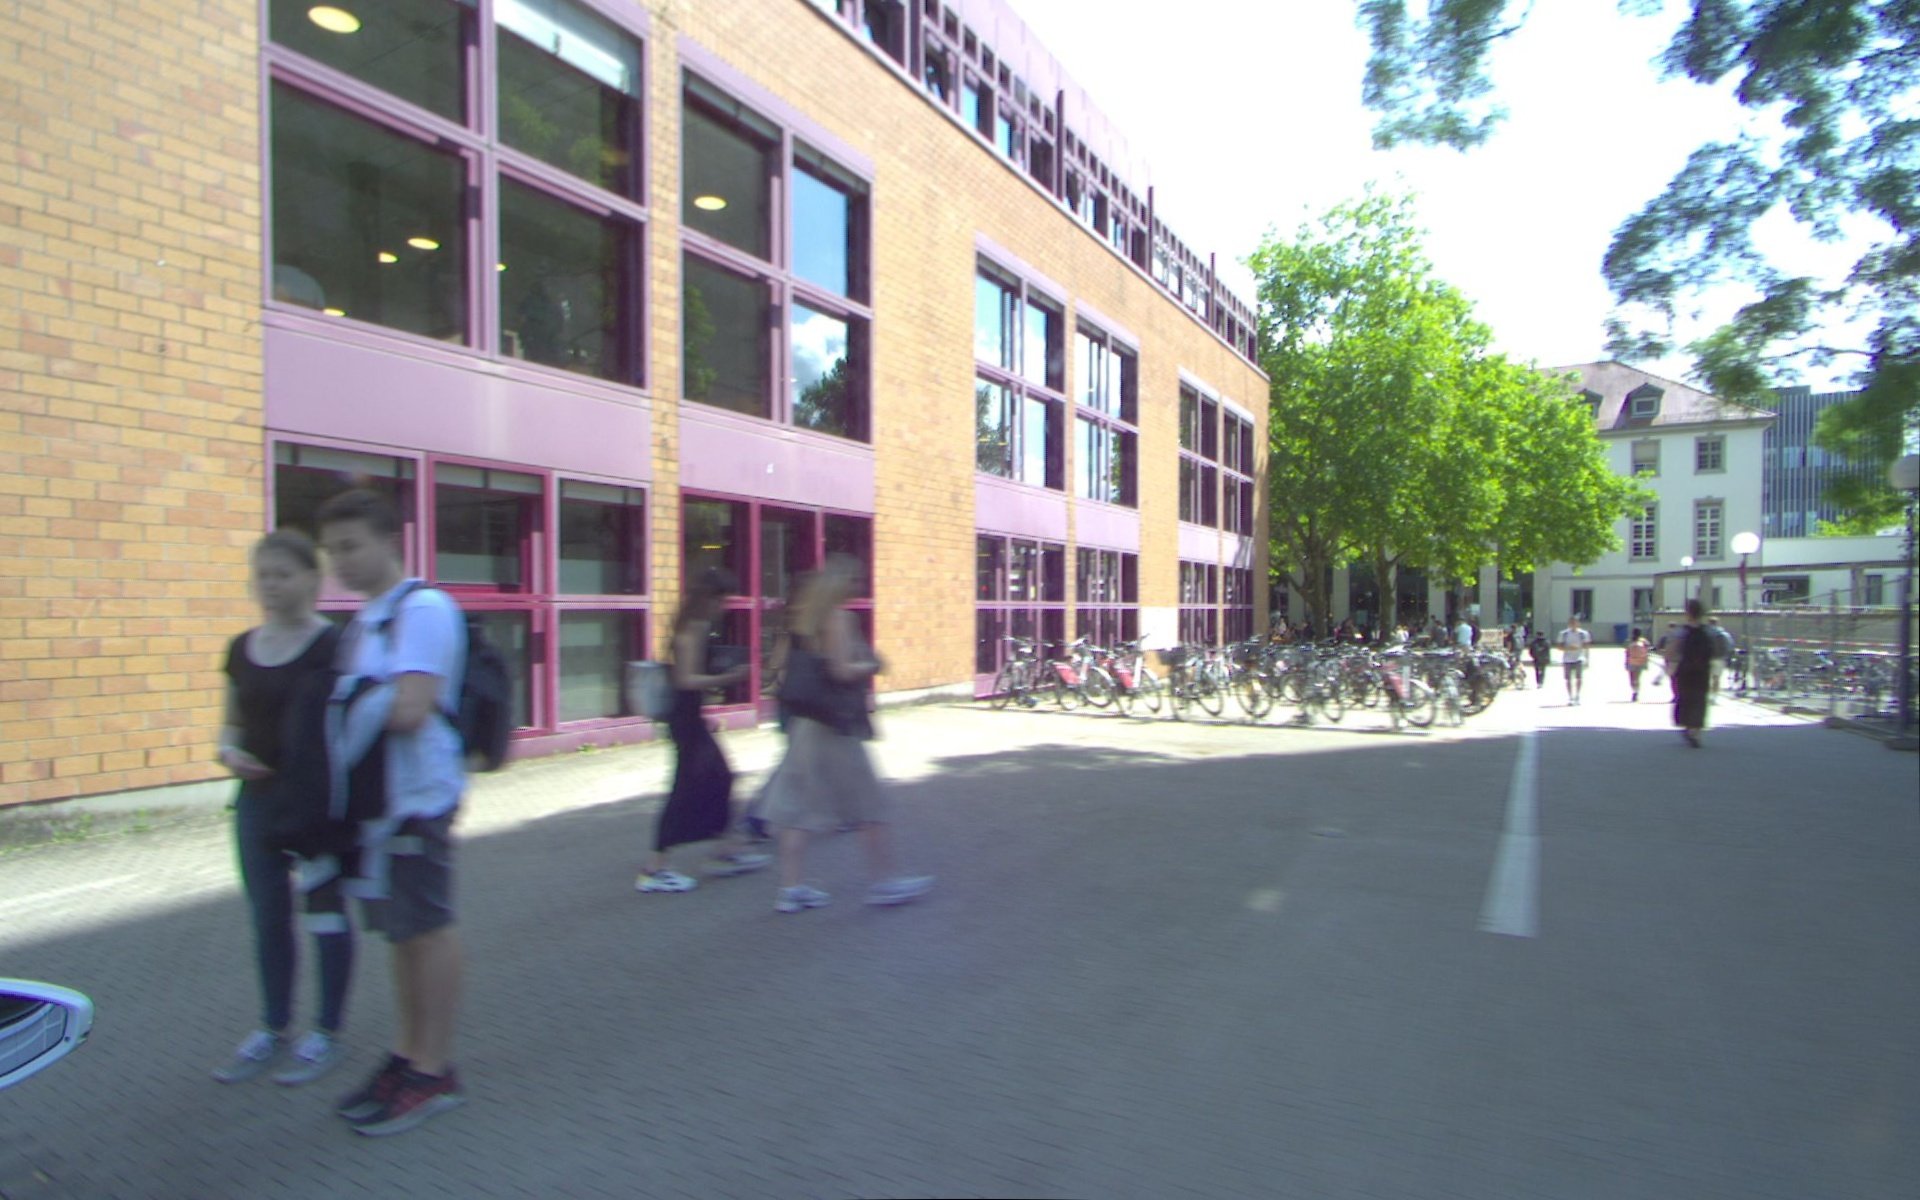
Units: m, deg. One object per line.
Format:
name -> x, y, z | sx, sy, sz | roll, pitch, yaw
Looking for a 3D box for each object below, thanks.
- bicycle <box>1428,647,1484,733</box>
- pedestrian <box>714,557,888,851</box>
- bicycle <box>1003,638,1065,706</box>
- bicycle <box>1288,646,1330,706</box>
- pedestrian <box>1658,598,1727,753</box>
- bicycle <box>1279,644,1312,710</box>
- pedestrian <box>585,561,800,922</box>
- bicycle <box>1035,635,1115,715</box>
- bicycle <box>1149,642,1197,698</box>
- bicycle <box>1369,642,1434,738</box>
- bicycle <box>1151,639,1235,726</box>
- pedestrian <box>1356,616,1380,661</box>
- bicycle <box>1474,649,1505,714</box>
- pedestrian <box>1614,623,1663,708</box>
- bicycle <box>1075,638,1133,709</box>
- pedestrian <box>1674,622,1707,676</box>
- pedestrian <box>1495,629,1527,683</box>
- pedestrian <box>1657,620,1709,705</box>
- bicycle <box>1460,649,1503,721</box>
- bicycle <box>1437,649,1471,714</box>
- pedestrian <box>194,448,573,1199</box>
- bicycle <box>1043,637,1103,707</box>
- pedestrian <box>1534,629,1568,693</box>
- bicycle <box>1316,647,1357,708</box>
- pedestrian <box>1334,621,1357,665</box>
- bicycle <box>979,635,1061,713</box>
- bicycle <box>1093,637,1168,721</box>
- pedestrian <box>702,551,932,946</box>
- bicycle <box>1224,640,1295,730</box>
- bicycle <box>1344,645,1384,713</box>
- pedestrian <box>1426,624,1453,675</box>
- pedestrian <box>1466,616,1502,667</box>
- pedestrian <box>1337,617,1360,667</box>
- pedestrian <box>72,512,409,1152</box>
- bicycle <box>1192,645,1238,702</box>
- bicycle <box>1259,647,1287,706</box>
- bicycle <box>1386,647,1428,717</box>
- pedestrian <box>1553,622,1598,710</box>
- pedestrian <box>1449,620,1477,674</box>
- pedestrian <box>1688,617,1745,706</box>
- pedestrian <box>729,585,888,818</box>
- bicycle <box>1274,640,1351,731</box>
bicycle -> 6.927, 1.219, 13.960 | 0.467, 1.124, 1.802 | -1, -3, 34
pedestrian -> -0.986, 0.610, 6.307 | 0.581, 1.694, 0.925 | -1, -1, 38
bicycle -> 1.311, 1.233, 17.538 | 0.466, 1.124, 1.807 | 0, -2, 25
bicycle -> 7.291, 1.577, 20.891 | 0.467, 1.183, 1.995 | 0, -3, 30
pedestrian -> 8.331, 0.839, 11.378 | 0.581, 1.672, 0.849 | -1, -2, 38
bicycle -> 6.353, 1.436, 18.995 | 0.465, 1.183, 1.811 | 1, -3, 14
pedestrian -> -1.381, 0.659, 5.233 | 0.635, 1.695, 0.882 | 1, 2, 38
bicycle -> 1.760, 1.110, 15.118 | 0.516, 1.124, 1.808 | 0, -3, 30
bicycle -> 4.756, 1.546, 22.273 | 0.467, 1.183, 1.995 | 0, -3, 29
bicycle -> 5.602, 1.103, 12.657 | 0.467, 1.124, 1.690 | -1, -3, 34
bicycle -> 3.236, 1.106, 13.770 | 0.516, 1.124, 1.806 | -1, -3, 34
pedestrian -> 17.297, 1.630, 42.450 | 0.672, 1.846, 0.905 | -2, -2, 9
bicycle -> 10.225, 1.555, 19.316 | 0.467, 1.183, 1.995 | 0, -3, 30
pedestrian -> 14.494, 1.391, 21.422 | 0.674, 1.750, 0.902 | -3, -2, 26
bicycle -> 2.462, 1.223, 16.967 | 0.466, 1.124, 1.807 | 0, -2, 25
pedestrian -> 24.177, 1.617, 33.154 | 0.674, 1.750, 0.902 | -3, -2, 26
pedestrian -> 18.087, 1.828, 32.888 | 0.672, 1.750, 0.904 | -2, -2, 15
pedestrian -> 15.243, 1.314, 21.120 | 0.674, 1.750, 0.902 | -3, -2, 26
bicycle -> 9.183, 1.469, 17.595 | 0.467, 1.183, 1.802 | 0, -3, 34
bicycle -> 9.637, 1.564, 19.510 | 0.467, 1.183, 1.995 | 0, -3, 30
pedestrian -> -1.644, 0.551, 2.894 | 0.581, 1.818, 0.763 | -1, 0, 38
bicycle -> 1.958, 1.220, 17.207 | 0.466, 1.124, 1.807 | 0, -2, 25
pedestrian -> 16.521, 1.689, 28.027 | 0.674, 1.750, 0.902 | -3, -2, 26
bicycle -> 7.729, 1.568, 20.523 | 0.467, 1.183, 1.995 | 0, -3, 30
pedestrian -> 16.350, 1.825, 42.527 | 0.672, 1.846, 0.905 | -2, -2, 9
bicycle -> 0.944, 1.109, 15.385 | 0.516, 1.124, 1.808 | 0, -3, 29
bicycle -> 2.460, 1.103, 14.331 | 0.515, 1.124, 1.809 | 0, -3, 28
pedestrian -> -0.662, 0.630, 4.800 | 0.552, 1.695, 0.882 | -1, 3, 38
bicycle -> 4.057, 1.112, 13.501 | 0.516, 1.124, 1.808 | 0, -3, 30
bicycle -> 7.451, 1.433, 18.436 | 0.467, 1.183, 1.805 | 0, -3, 29
pedestrian -> 16.771, 1.716, 35.044 | 0.672, 1.750, 0.904 | 2, 0, 16
pedestrian -> 19.618, 1.558, 37.486 | 0.674, 1.846, 0.902 | -1, -2, -24
pedestrian -> 14.710, 1.599, 37.944 | 0.672, 1.846, 0.904 | -2, -2, 15
pedestrian -> -2.218, 0.622, 3.107 | 0.581, 1.694, 0.694 | -1, 0, 38
bicycle -> 5.569, 1.582, 21.768 | 0.467, 1.183, 1.995 | 0, -3, 29
bicycle -> 6.625, 1.601, 21.227 | 0.465, 1.183, 2.002 | 1, -3, 15
bicycle -> 8.109, 1.466, 18.127 | 0.467, 1.183, 1.804 | 0, -3, 31
pedestrian -> 12.668, 1.344, 20.600 | 0.676, 1.750, 0.899 | -3, -2, 35
pedestrian -> 17.548, 1.632, 34.946 | 0.672, 1.846, 0.904 | -2, -2, 16
pedestrian -> 15.193, 1.226, 20.127 | 0.674, 1.750, 0.902 | -3, -2, 26
pedestrian -> -1.096, 0.684, 7.300 | 0.733, 1.563, 0.882 | 0, 1, 38
bicycle -> 4.721, 1.113, 13.342 | 0.516, 1.124, 1.805 | -1, -3, 34
